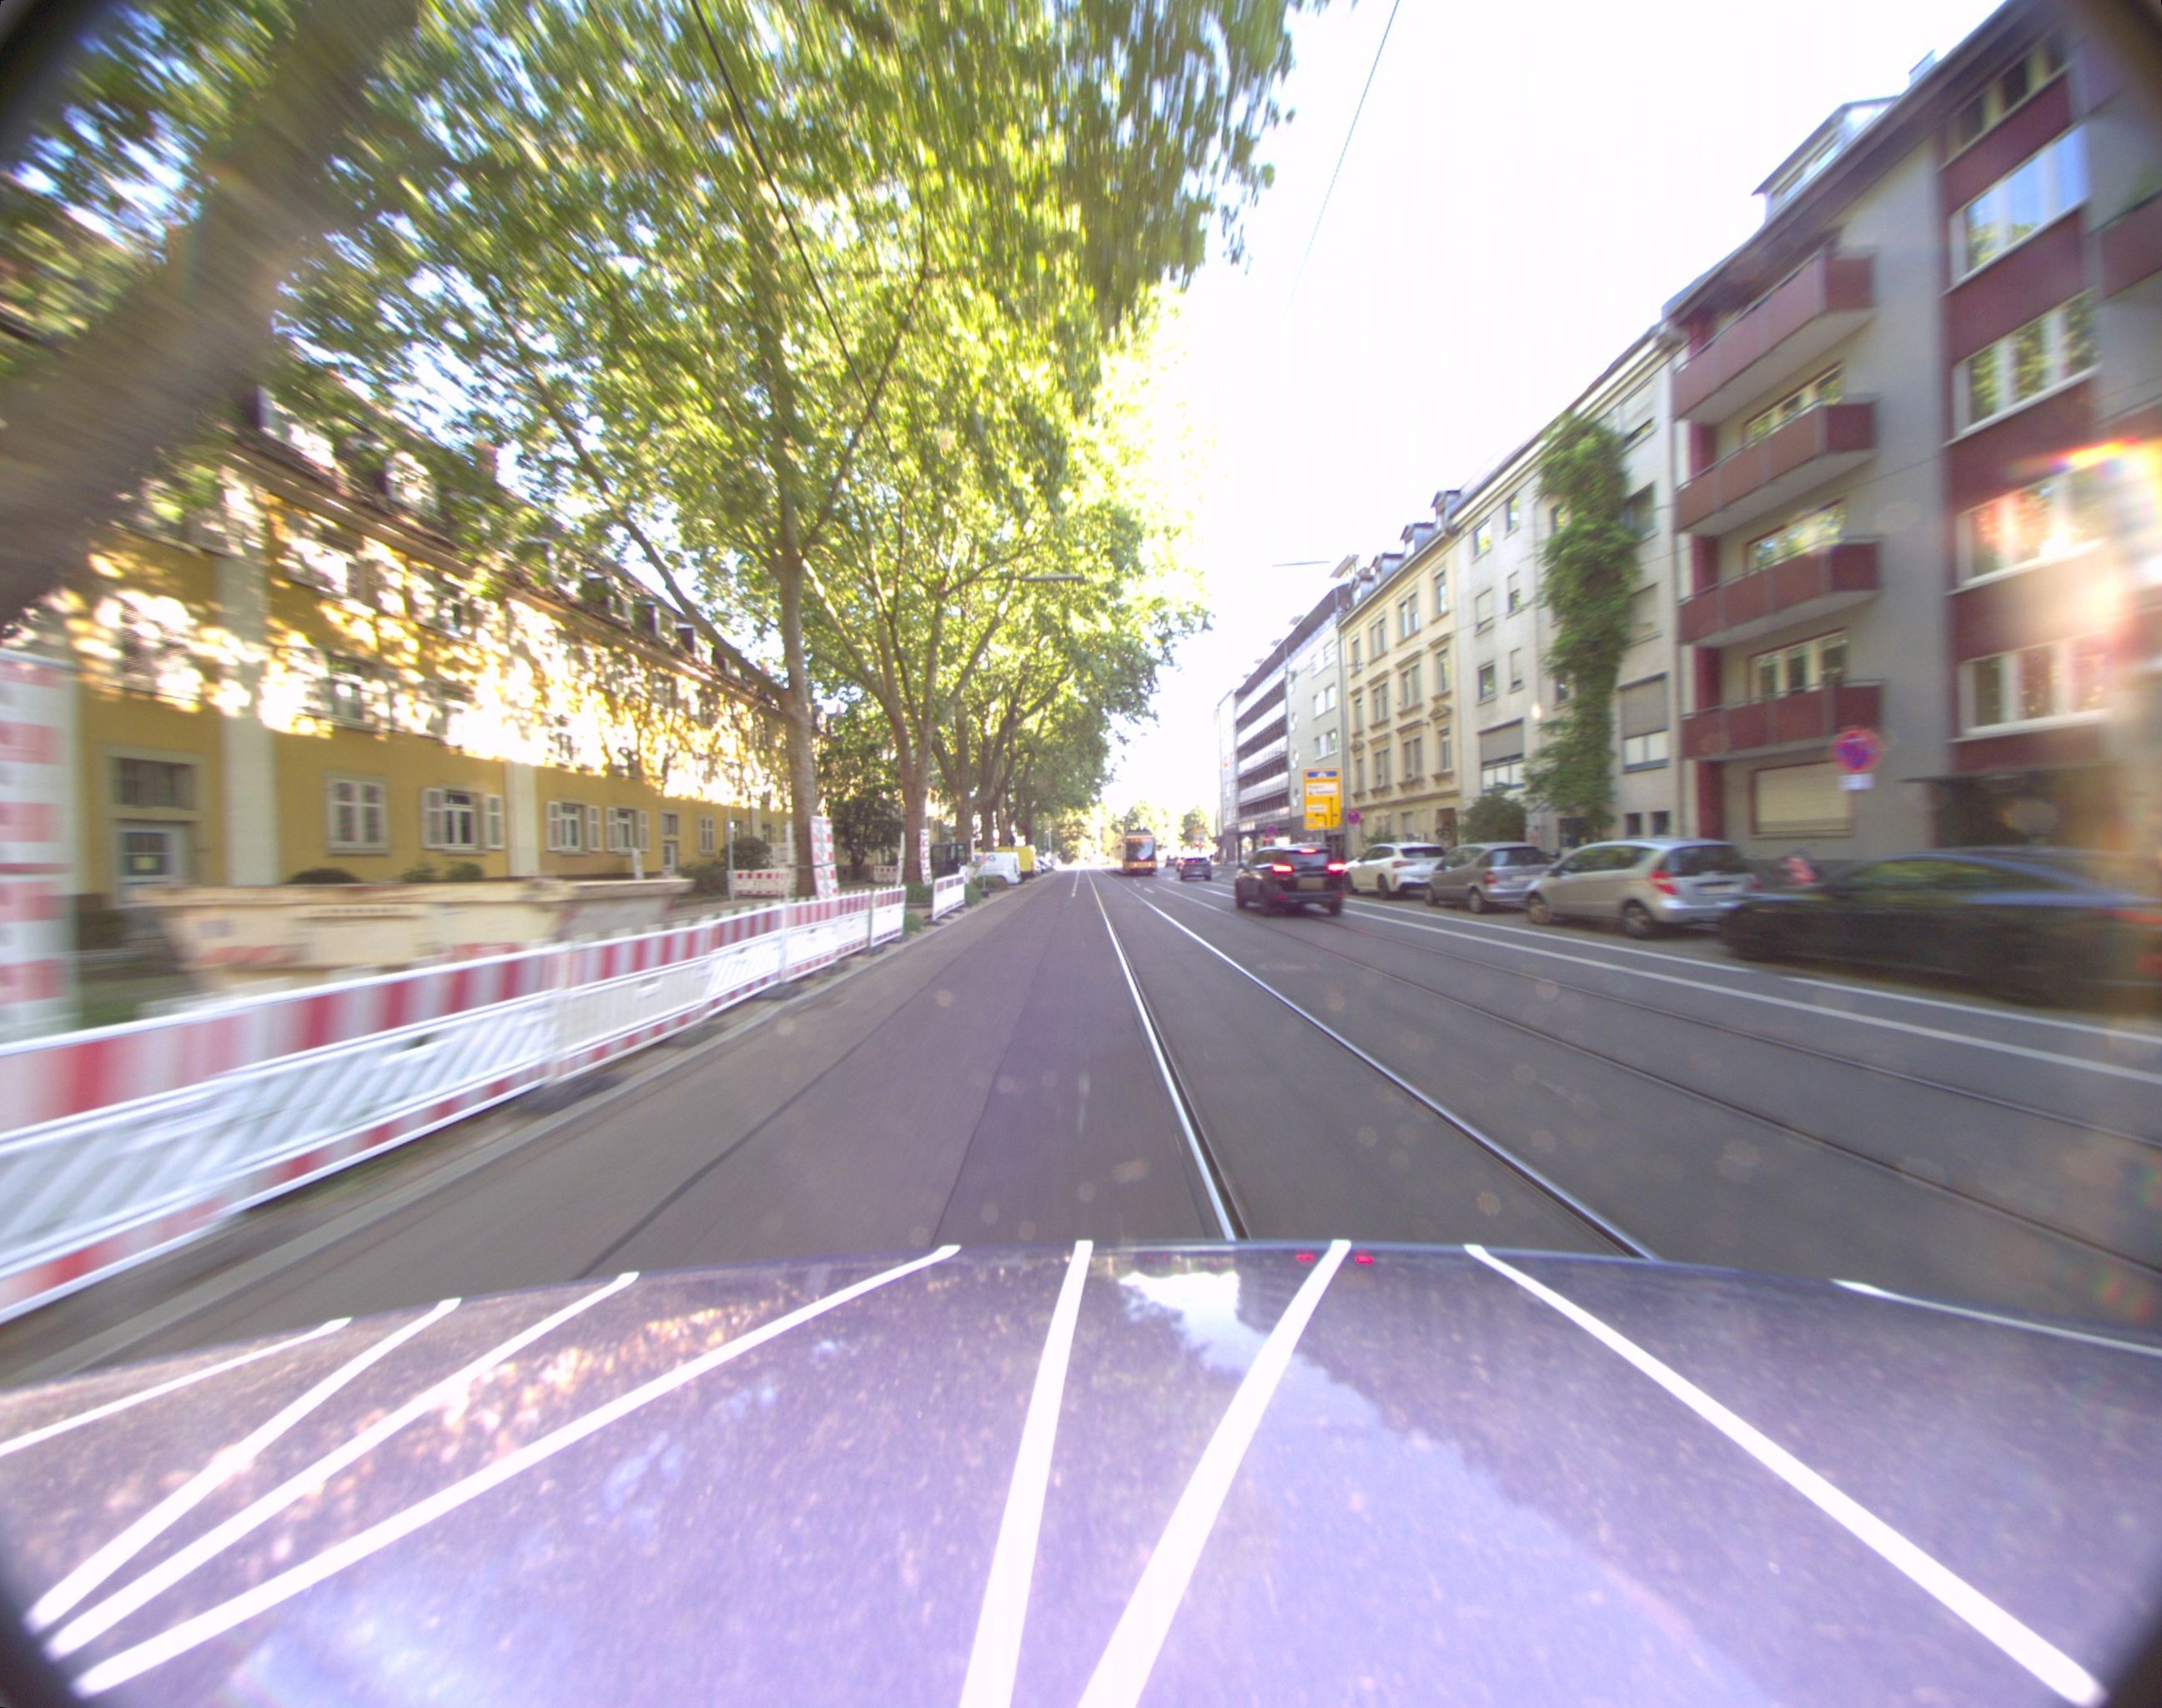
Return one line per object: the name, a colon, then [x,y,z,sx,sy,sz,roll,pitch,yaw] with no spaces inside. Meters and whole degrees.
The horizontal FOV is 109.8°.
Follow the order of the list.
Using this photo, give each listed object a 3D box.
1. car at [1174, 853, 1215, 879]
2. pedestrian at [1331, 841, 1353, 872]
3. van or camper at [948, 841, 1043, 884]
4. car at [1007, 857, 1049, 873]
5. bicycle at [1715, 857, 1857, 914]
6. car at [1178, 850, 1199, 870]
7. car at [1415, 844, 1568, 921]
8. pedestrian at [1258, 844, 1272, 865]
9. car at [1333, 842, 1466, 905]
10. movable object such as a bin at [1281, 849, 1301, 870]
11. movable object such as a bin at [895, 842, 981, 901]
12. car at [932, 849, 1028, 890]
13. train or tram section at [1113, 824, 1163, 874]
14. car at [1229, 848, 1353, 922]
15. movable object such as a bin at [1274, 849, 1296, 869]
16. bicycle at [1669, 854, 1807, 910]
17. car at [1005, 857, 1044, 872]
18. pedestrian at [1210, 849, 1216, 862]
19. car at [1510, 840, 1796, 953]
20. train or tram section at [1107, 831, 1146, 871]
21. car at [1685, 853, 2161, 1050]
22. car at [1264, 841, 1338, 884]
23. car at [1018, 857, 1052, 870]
car: [6.601,0.689,44.484,1.800,1.437,4.053,-1,0,1]
pedestrian: [15.937,0.132,46.419,0.965,1.803,0.729,-4,1,1]
van or camper: [-5.637,0.543,50.657,5.940,2.614,2.270,-1,1,2]
car: [-5.650,1.126,81.303,4.437,1.648,1.908,-1,1,-1]
bicycle: [14.460,0.629,15.616,2.296,0.987,0.699,-4,1,-3]
car: [9.692,0.523,68.786,1.799,1.438,4.717,-1,3,8]
car: [9.622,0.591,18.166,1.630,1.563,3.781,-3,1,1]
pedestrian: [15.572,0.075,64.331,0.789,1.703,0.820,-5,1,0]
car: [9.637,0.519,23.493,1.957,1.639,4.880,-3,1,-1]
movable object such as a bin: [15.063,0.378,54.545,1.059,1.442,1.210,-2,0,-4]
movable object such as a bin: [-5.774,0.671,30.907,1.482,2.256,3.283,-2,0,34]
car: [-5.402,0.819,41.019,4.847,2.001,2.063,-1,0,0]
train or tram section: [4.377,-0.346,61.373,2.916,3.465,14.197,-2,0,0]
car: [5.056,0.659,18.953,1.858,1.591,4.463,-1,0,1]
movable object such as a bin: [14.964,0.380,55.776,1.142,1.442,1.213,-2,0,-4]
bicycle: [14.468,0.604,16.766,2.457,1.056,0.699,-4,1,-3]
car: [-5.604,1.057,76.008,3.660,1.416,1.866,1,0,1]
pedestrian: [17.201,0.149,99.156,0.716,1.664,0.905,-2,0,10]
car: [9.606,0.628,13.249,1.824,1.577,4.004,-3,0,-2]
train or tram section: [4.351,-0.296,75.236,2.916,3.465,13.368,-2,0,0]
car: [9.413,0.756,8.173,1.957,1.387,4.863,-4,0,1]
car: [9.871,0.370,34.510,1.793,1.760,4.470,-3,0,-3]
car: [-5.308,1.103,87.866,3.891,1.488,1.741,-1,0,-3]
